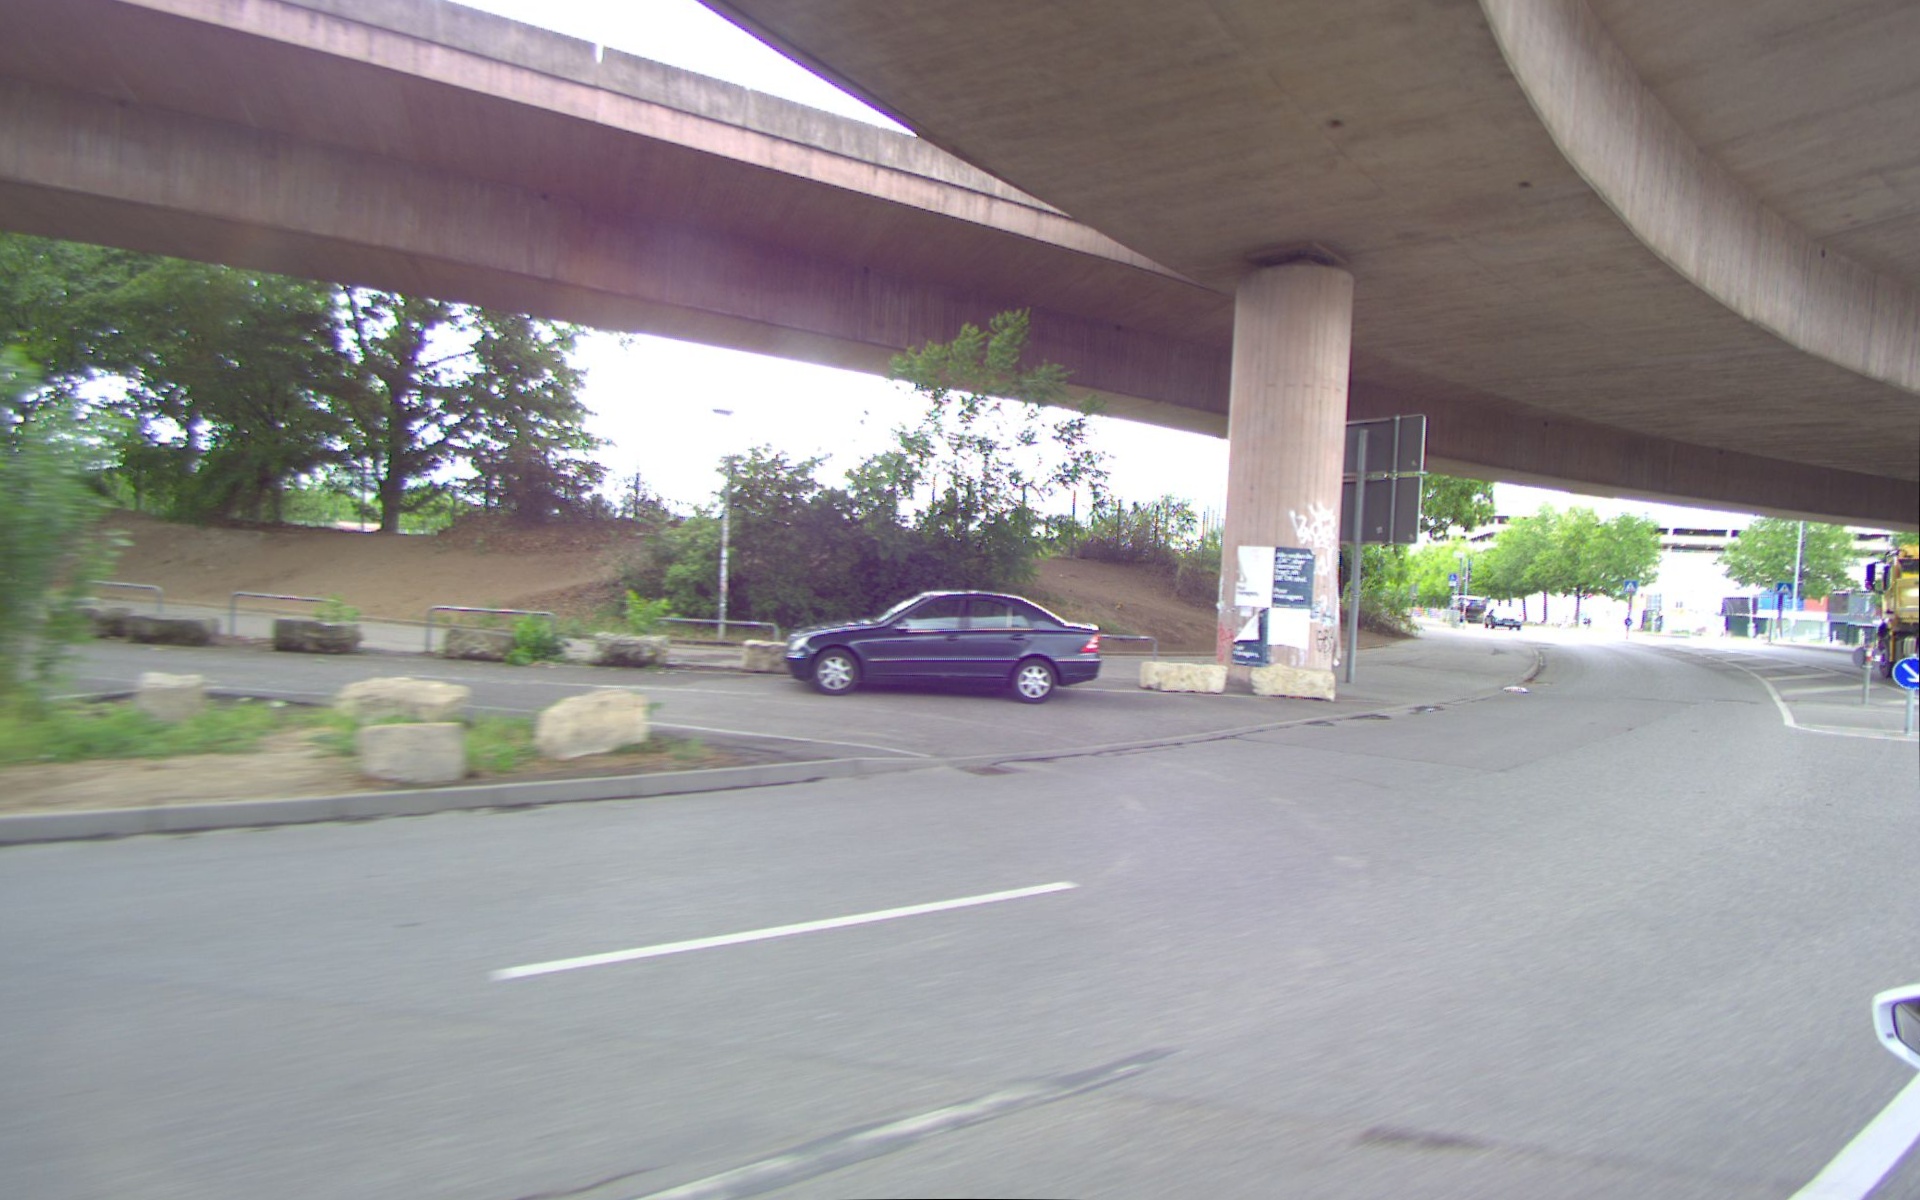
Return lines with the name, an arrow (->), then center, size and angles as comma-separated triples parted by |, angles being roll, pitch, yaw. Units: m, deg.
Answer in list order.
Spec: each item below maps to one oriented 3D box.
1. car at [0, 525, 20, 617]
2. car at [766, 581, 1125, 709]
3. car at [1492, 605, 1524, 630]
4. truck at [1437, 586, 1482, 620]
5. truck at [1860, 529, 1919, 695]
car -> -16.069, -0.493, 15.743 | 1.525, 1.484, 3.827 | 3, 1, -38
car -> -0.257, 0.597, 14.078 | 4.687, 1.450, 1.825 | 2, 3, -8
car -> 34.803, 1.116, 63.854 | 1.651, 1.449, 3.994 | 3, 1, 28
truck -> 54.588, 0.383, 109.884 | 2.627, 3.605, 7.928 | 1, -1, 13
truck -> 23.790, 0.305, 23.504 | 2.719, 3.747, 7.861 | 0, -1, 32
